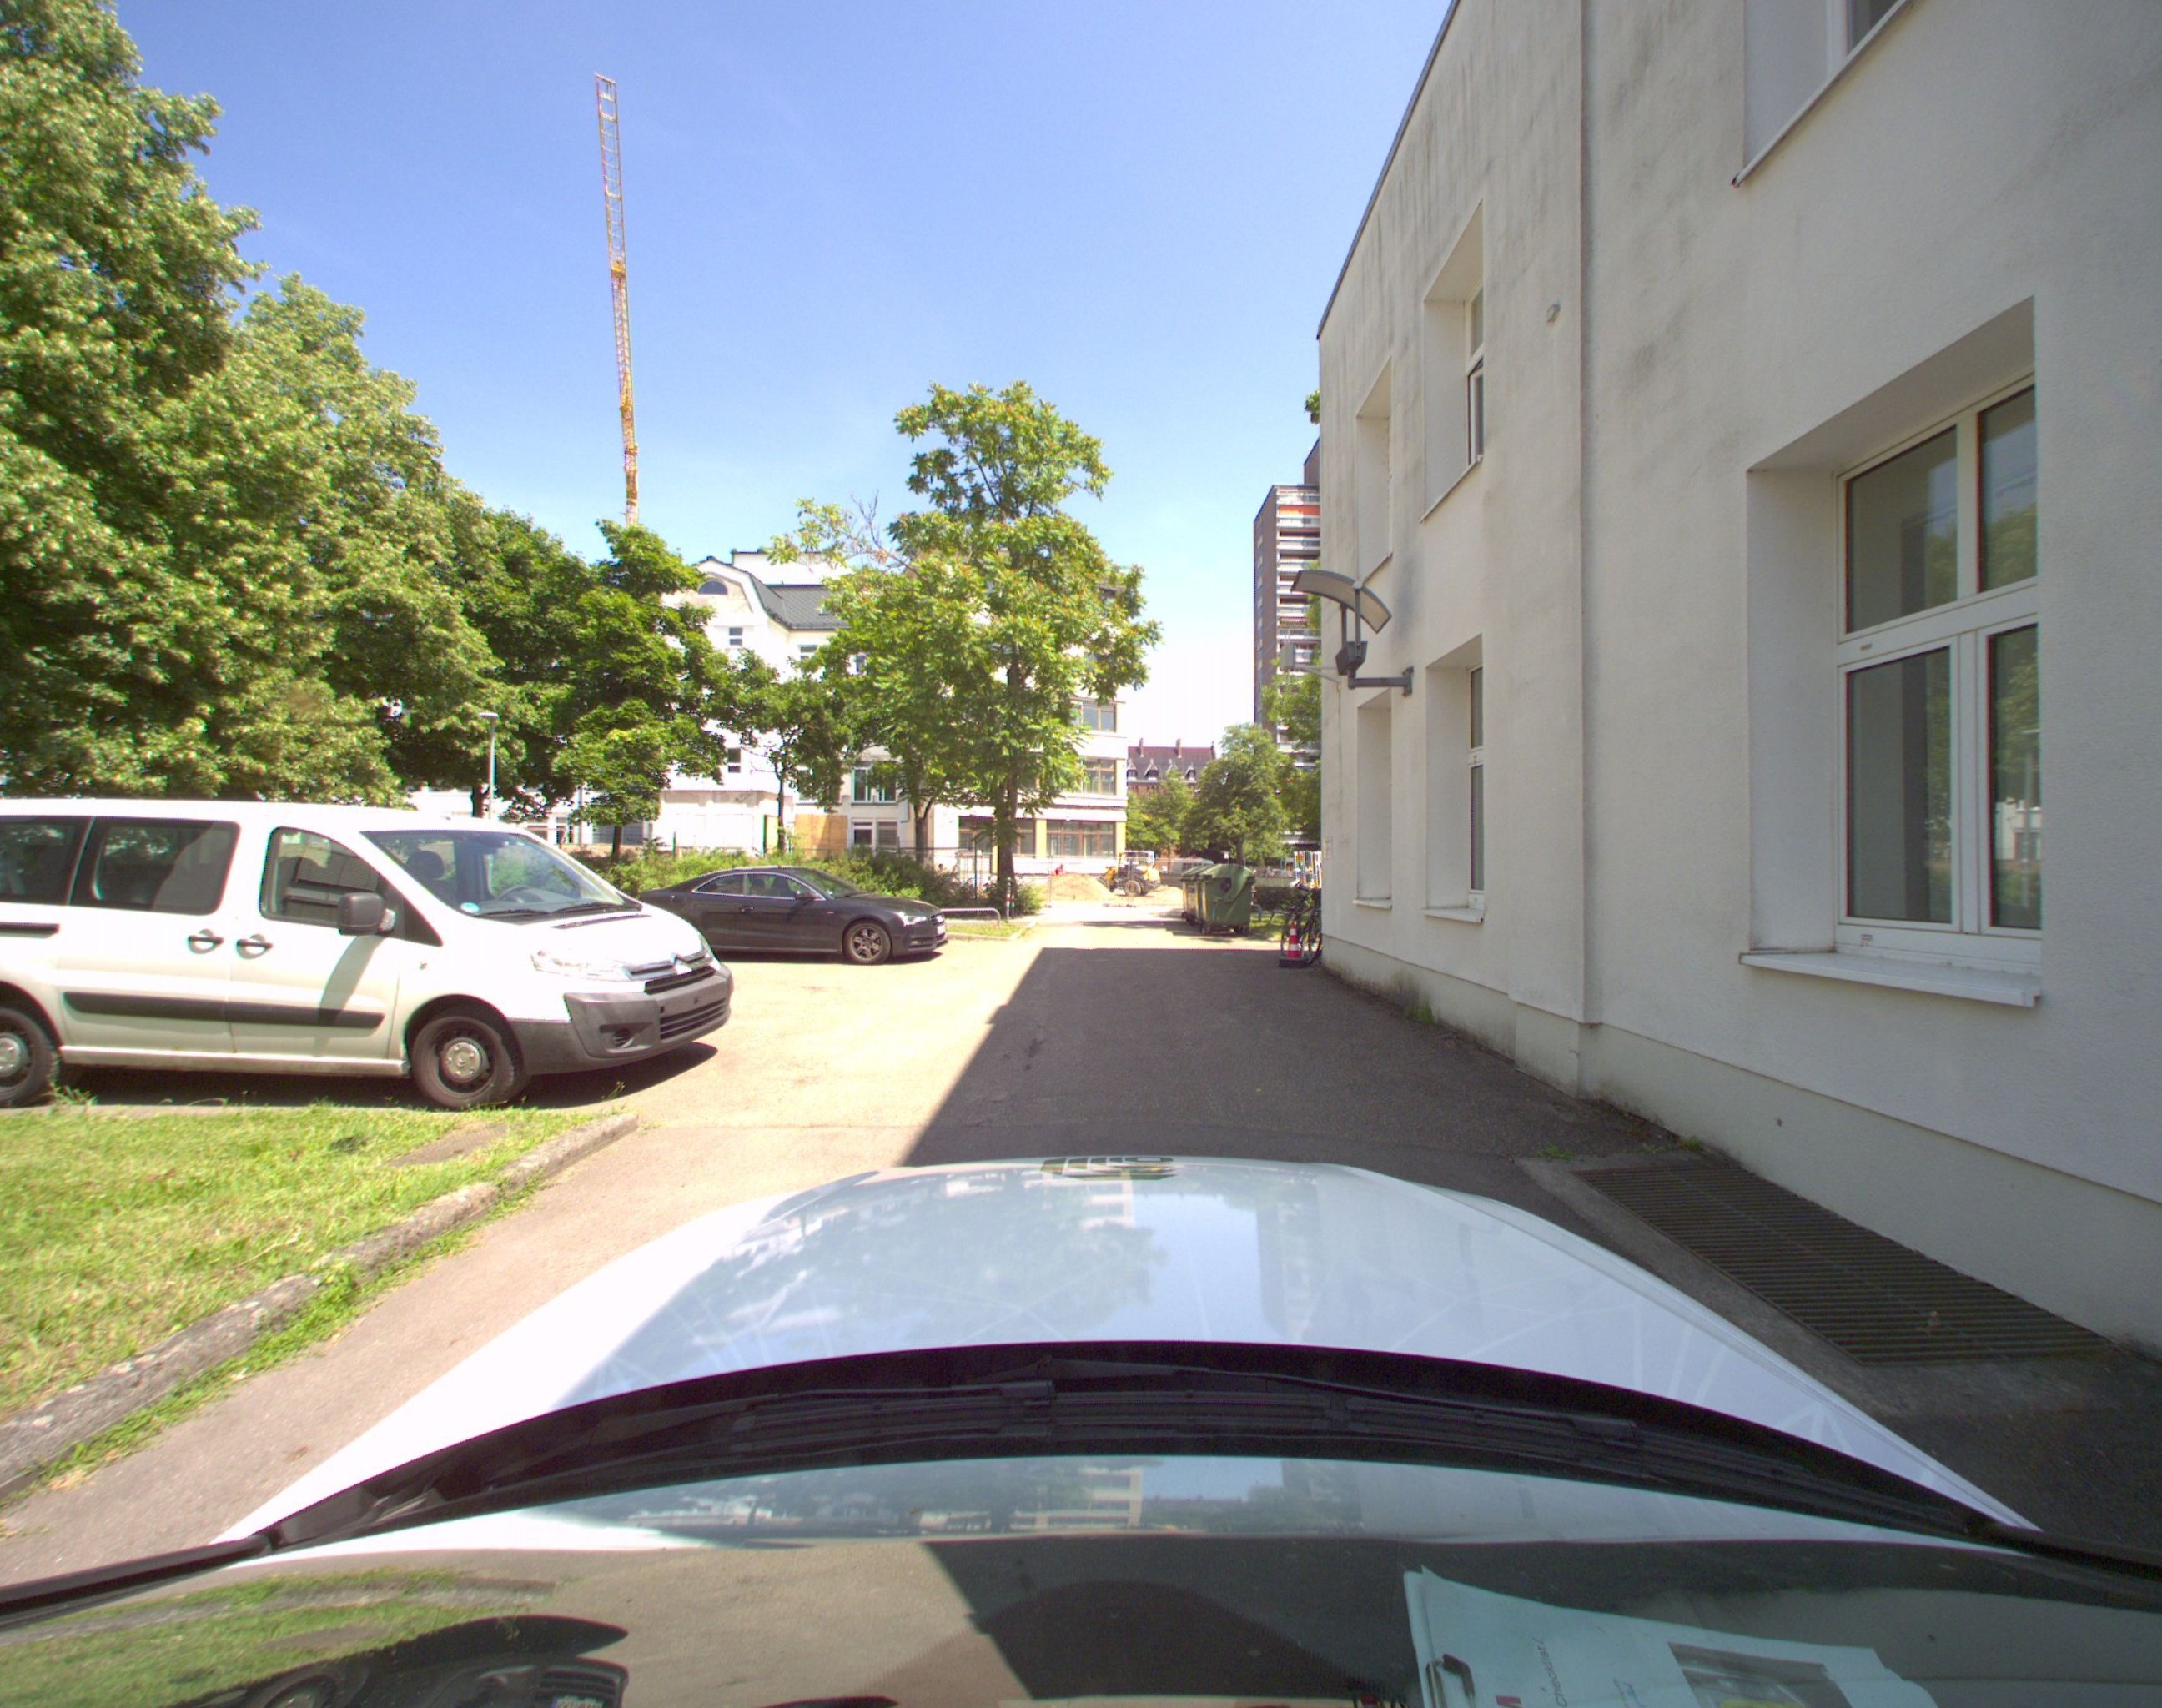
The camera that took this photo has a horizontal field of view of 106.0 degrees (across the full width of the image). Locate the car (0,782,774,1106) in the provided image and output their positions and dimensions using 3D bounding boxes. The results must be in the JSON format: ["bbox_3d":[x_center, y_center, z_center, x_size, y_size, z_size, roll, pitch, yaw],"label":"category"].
[{"bbox_3d":[-5.069,0.545,5.919,4.826,1.883,2.069,0,-2,3],"label":"car"}]

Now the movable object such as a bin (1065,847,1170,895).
[{"bbox_3d":[2.044,0.919,45.783,5.352,2.464,2.382,1,-1,30],"label":"movable object such as a bin"}]

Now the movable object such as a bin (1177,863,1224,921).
[{"bbox_3d":[3.090,0.980,21.163,1.071,1.458,1.378,0,-2,3],"label":"movable object such as a bin"}]

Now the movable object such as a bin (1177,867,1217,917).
[{"bbox_3d":[3.497,1.141,24.660,1.071,1.458,1.378,0,-2,3],"label":"movable object such as a bin"}]

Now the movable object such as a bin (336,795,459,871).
[{"bbox_3d":[-40.137,-1.187,47.890,5.677,4.373,2.003,0,-2,5],"label":"movable object such as a bin"}]

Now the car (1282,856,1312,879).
[{"bbox_3d":[21.662,1.357,81.543,2.165,2.258,4.895,-1,-2,23],"label":"car"}]

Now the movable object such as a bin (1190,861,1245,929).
[{"bbox_3d":[3.043,0.894,18.269,1.071,1.458,1.378,0,-2,3],"label":"movable object such as a bin"}]

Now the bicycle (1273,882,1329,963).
[{"bbox_3d":[3.259,0.983,12.189,0.403,1.102,1.827,0,-2,2],"label":"bicycle"}]

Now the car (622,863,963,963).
[{"bbox_3d":[-4.205,0.839,12.403,4.410,1.380,2.025,0,-2,3],"label":"car"}]

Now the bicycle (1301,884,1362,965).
[{"bbox_3d":[3.728,1.008,12.231,0.403,1.102,1.827,0,-2,2],"label":"bicycle"}]

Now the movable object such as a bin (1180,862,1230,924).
[{"bbox_3d":[2.985,0.930,19.743,1.071,1.458,1.378,0,-2,3],"label":"movable object such as a bin"}]

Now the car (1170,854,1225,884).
[{"bbox_3d":[9.937,1.314,69.811,2.004,2.416,5.196,1,-2,-27],"label":"car"}]

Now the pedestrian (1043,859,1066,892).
[{"bbox_3d":[-1.503,1.250,46.664,0.922,1.847,0.974,2,-2,-43],"label":"pedestrian"}]

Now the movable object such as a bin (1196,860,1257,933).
[{"bbox_3d":[2.973,0.858,16.827,1.071,1.458,1.378,0,-2,3],"label":"movable object such as a bin"}]
